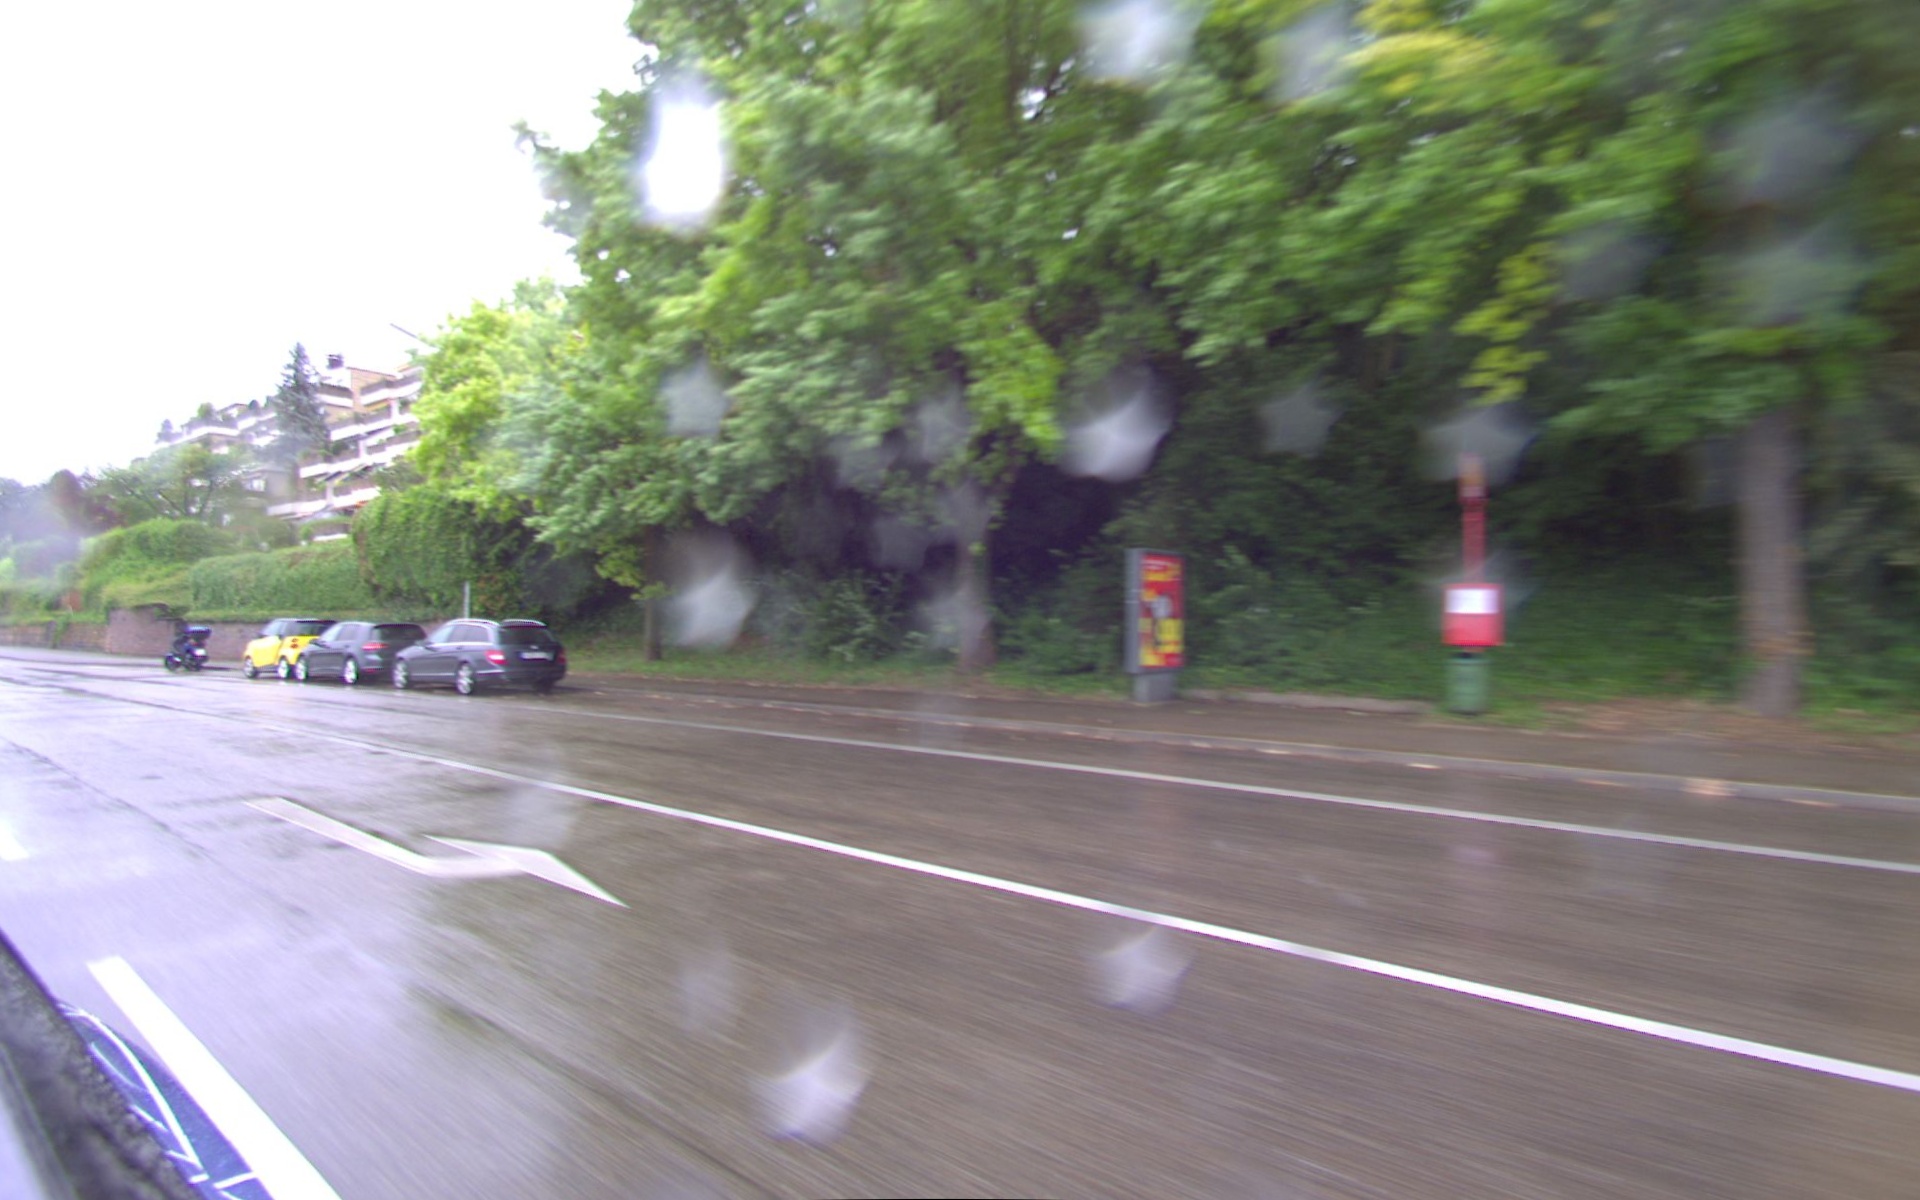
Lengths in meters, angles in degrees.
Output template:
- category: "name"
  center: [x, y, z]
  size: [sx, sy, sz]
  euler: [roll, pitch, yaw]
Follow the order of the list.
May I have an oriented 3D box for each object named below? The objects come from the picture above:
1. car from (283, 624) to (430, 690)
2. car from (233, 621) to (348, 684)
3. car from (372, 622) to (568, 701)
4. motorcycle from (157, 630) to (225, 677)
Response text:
- category: "car"
  center: [-14.155, 1.279, 23.663]
  size: [4.094, 1.430, 1.421]
  euler: [-1, -2, 35]
- category: "car"
  center: [-17.307, 1.330, 26.151]
  size: [2.810, 1.549, 1.422]
  euler: [-1, -2, 32]
- category: "car"
  center: [-10.024, 1.178, 20.559]
  size: [4.734, 1.430, 1.671]
  euler: [-1, -2, 38]
- category: "motorcycle"
  center: [-22.991, 1.561, 30.232]
  size: [2.492, 1.351, 0.830]
  euler: [-1, -2, 34]
